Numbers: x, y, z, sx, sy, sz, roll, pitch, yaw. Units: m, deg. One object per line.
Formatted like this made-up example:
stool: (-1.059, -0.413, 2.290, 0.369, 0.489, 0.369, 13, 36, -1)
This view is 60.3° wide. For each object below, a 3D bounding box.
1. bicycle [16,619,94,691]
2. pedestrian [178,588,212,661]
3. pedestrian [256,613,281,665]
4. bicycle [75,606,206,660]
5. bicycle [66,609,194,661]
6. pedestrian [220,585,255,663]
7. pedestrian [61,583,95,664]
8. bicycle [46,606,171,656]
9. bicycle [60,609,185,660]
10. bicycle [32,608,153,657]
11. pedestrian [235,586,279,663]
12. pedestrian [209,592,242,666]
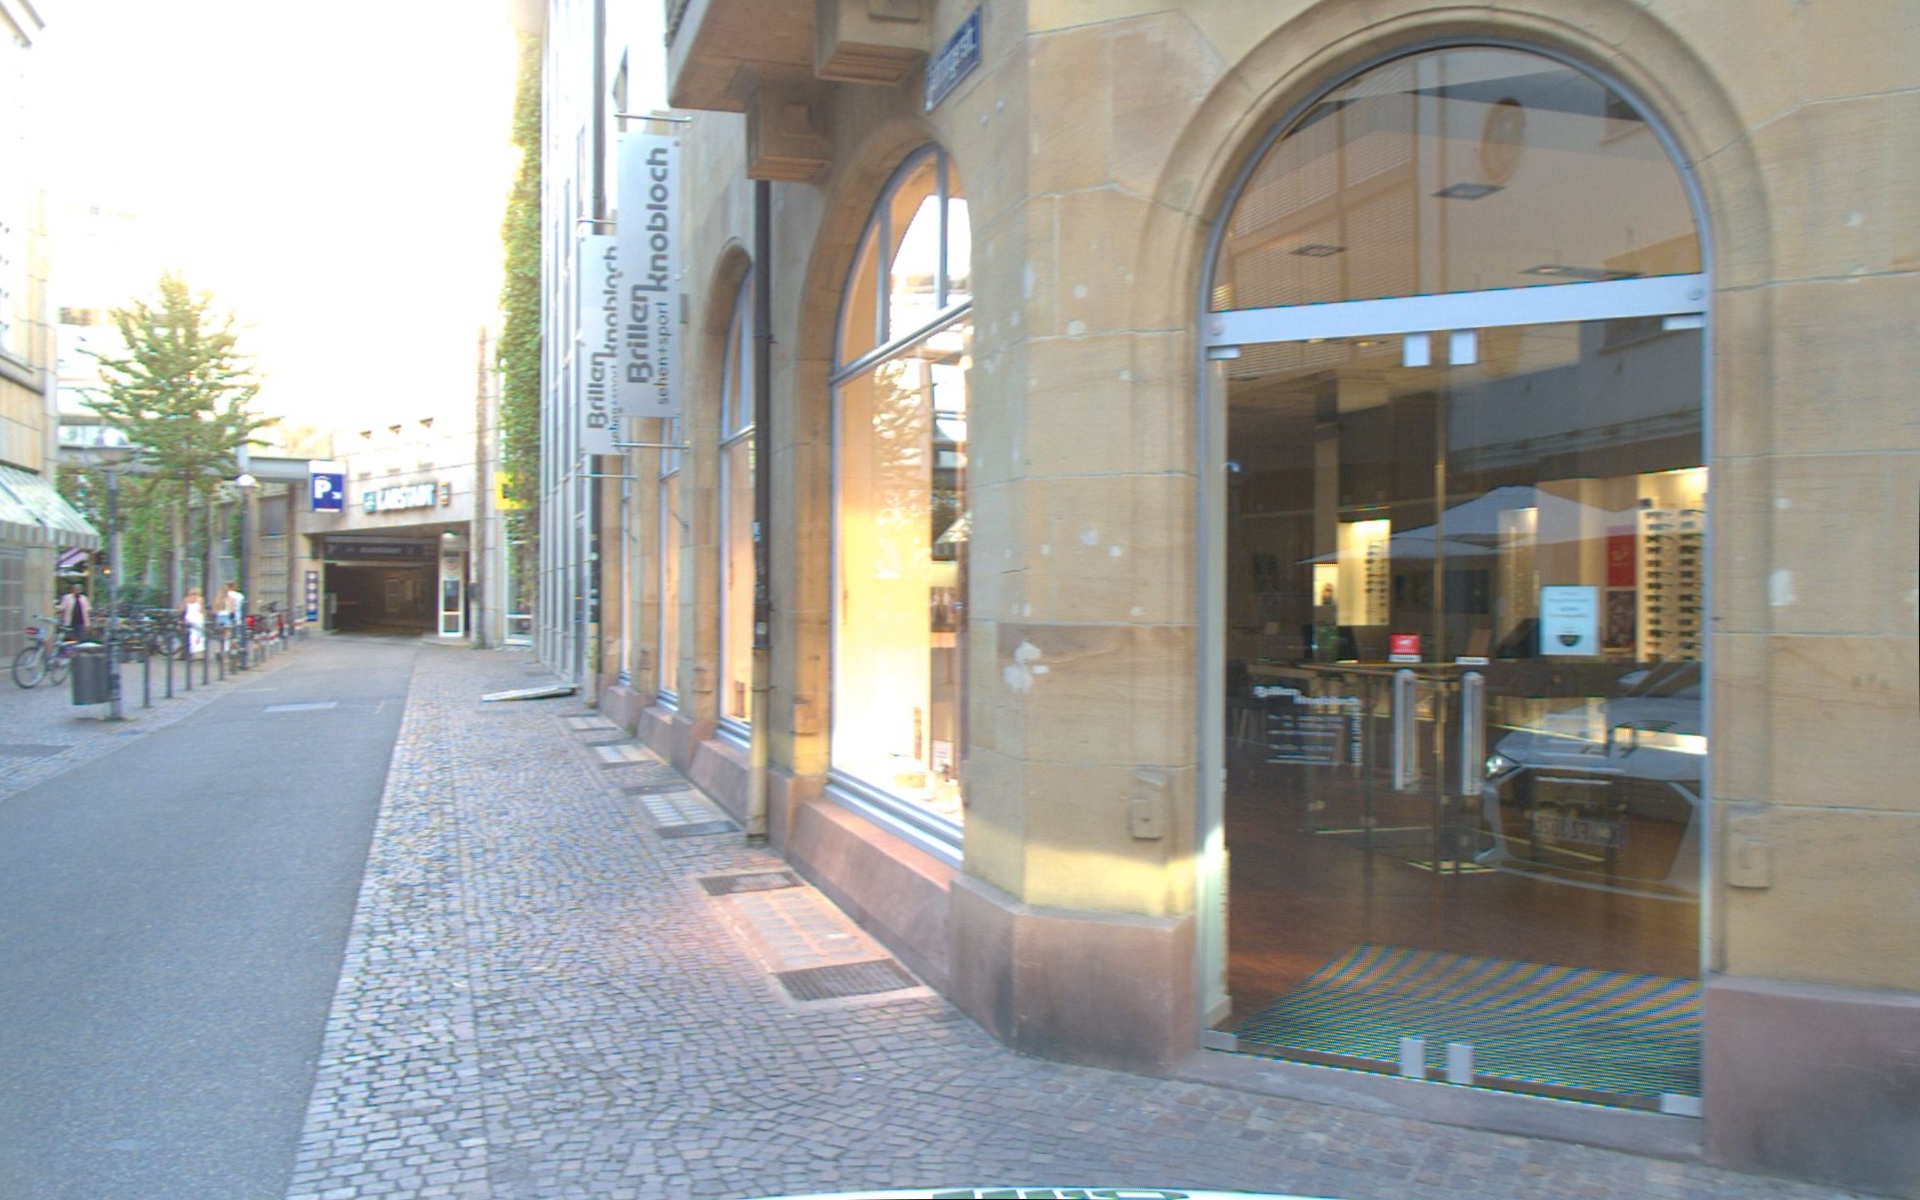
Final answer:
bicycle: (-14.910, 0.887, 27.304, 0.472, 1.100, 2.236, 0, 0, -11)
pedestrian: (-17.139, 0.548, 37.070, 0.580, 1.632, 0.662, 1, -1, -17)
pedestrian: (-15.876, 0.885, 37.971, 0.458, 1.188, 0.519, 1, -1, -17)
bicycle: (-19.484, 0.771, 39.374, 2.736, 1.221, 0.724, 0, 0, -37)
bicycle: (-20.365, 0.835, 40.602, 2.736, 1.221, 0.724, 0, 0, -37)
pedestrian: (-16.734, 0.559, 38.310, 0.620, 1.788, 0.795, 1, -1, -17)
pedestrian: (-19.854, 0.518, 37.232, 0.649, 1.795, 0.610, 0, 0, -31)
bicycle: (-21.614, 0.759, 42.019, 2.736, 1.221, 0.747, 0, 0, -37)
bicycle: (-20.950, 0.841, 41.402, 2.736, 1.221, 0.724, 0, 0, -37)
bicycle: (-22.546, 0.838, 43.025, 2.736, 1.221, 0.724, 0, 0, -37)
pedestrian: (-16.720, 0.582, 39.351, 0.850, 1.788, 0.795, 1, -1, -17)
pedestrian: (-16.421, 0.646, 36.971, 0.575, 1.632, 0.625, 1, -1, -17)
